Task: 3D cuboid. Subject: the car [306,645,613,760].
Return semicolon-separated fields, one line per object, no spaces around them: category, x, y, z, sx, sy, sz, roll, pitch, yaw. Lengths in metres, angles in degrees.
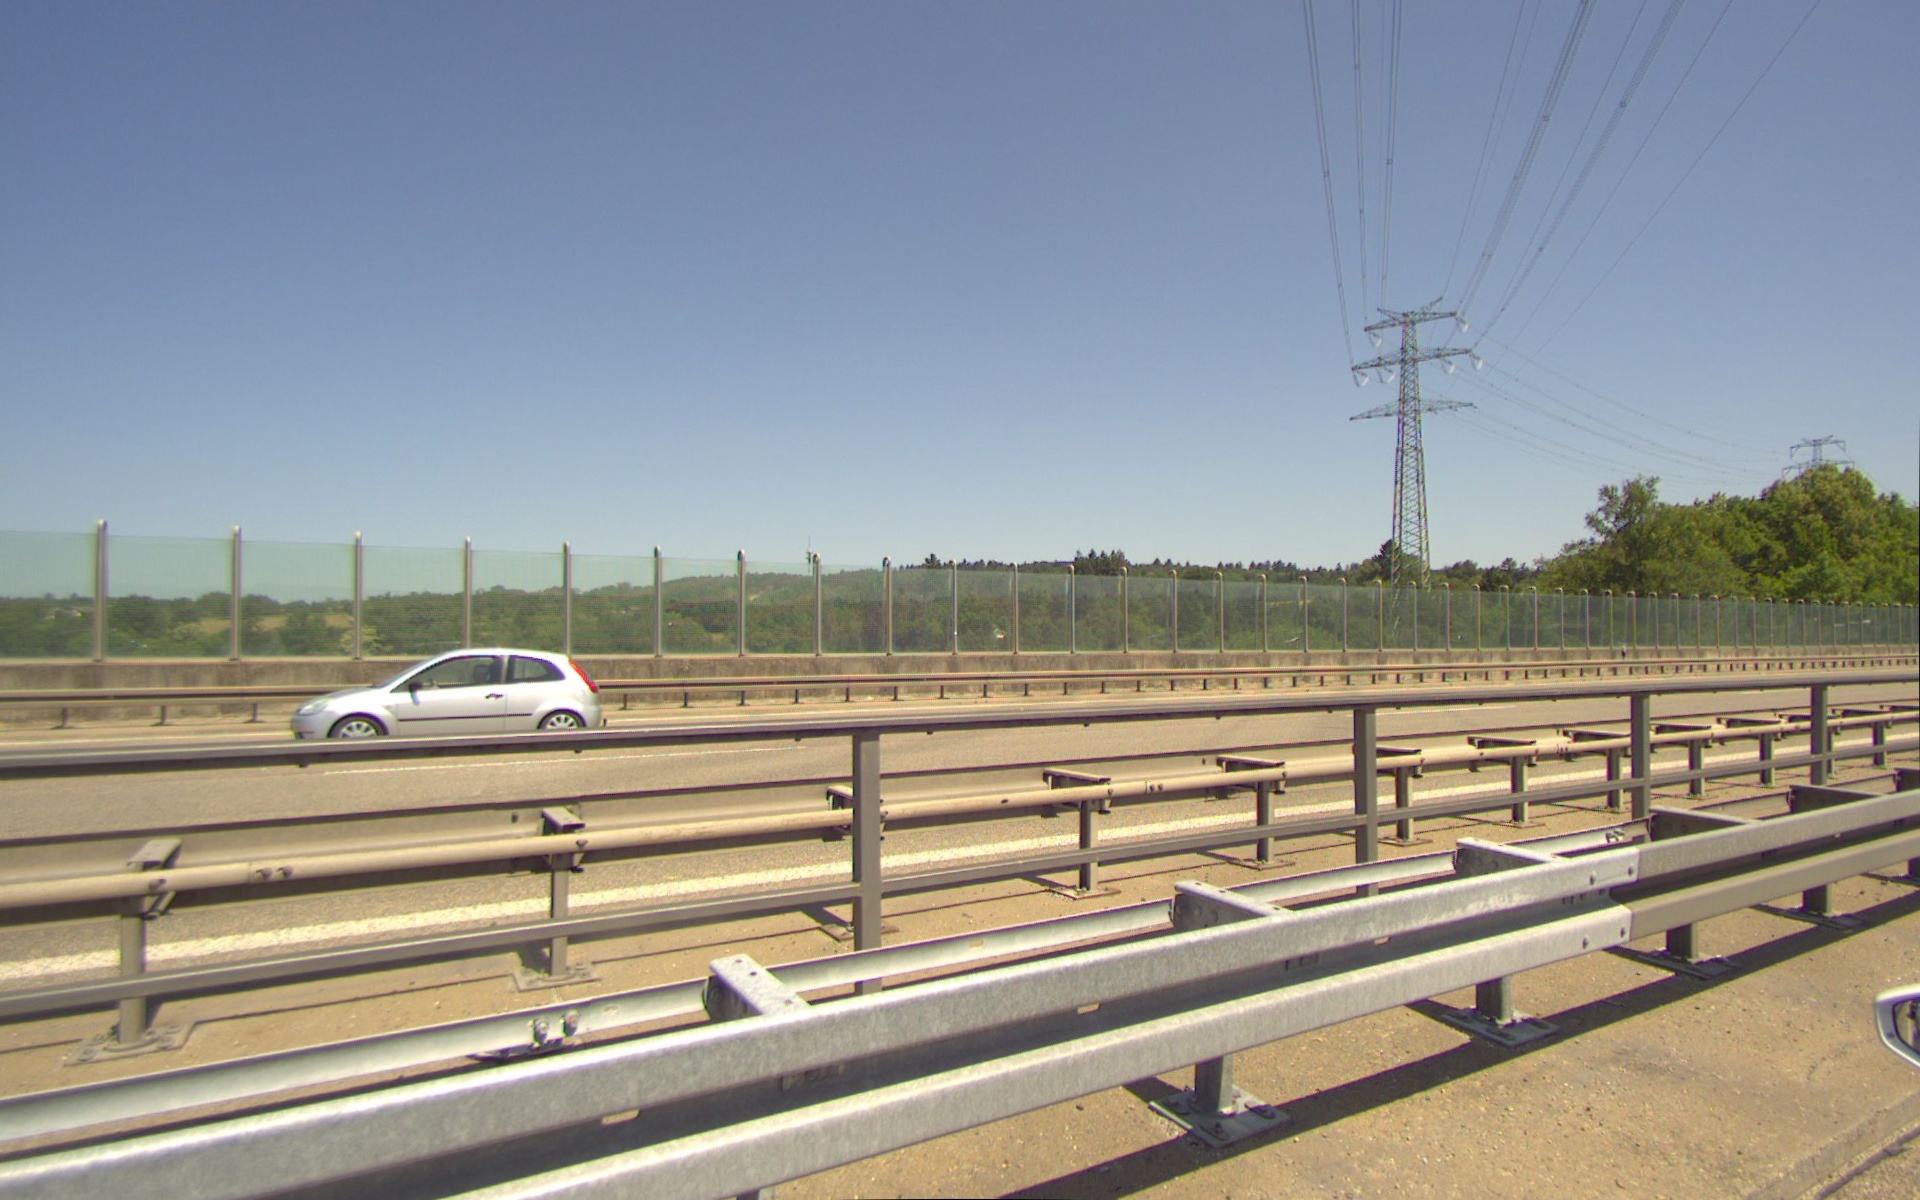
car;-6.897;1.352;14.042;3.633;1.412;1.597;2;-4;-30
